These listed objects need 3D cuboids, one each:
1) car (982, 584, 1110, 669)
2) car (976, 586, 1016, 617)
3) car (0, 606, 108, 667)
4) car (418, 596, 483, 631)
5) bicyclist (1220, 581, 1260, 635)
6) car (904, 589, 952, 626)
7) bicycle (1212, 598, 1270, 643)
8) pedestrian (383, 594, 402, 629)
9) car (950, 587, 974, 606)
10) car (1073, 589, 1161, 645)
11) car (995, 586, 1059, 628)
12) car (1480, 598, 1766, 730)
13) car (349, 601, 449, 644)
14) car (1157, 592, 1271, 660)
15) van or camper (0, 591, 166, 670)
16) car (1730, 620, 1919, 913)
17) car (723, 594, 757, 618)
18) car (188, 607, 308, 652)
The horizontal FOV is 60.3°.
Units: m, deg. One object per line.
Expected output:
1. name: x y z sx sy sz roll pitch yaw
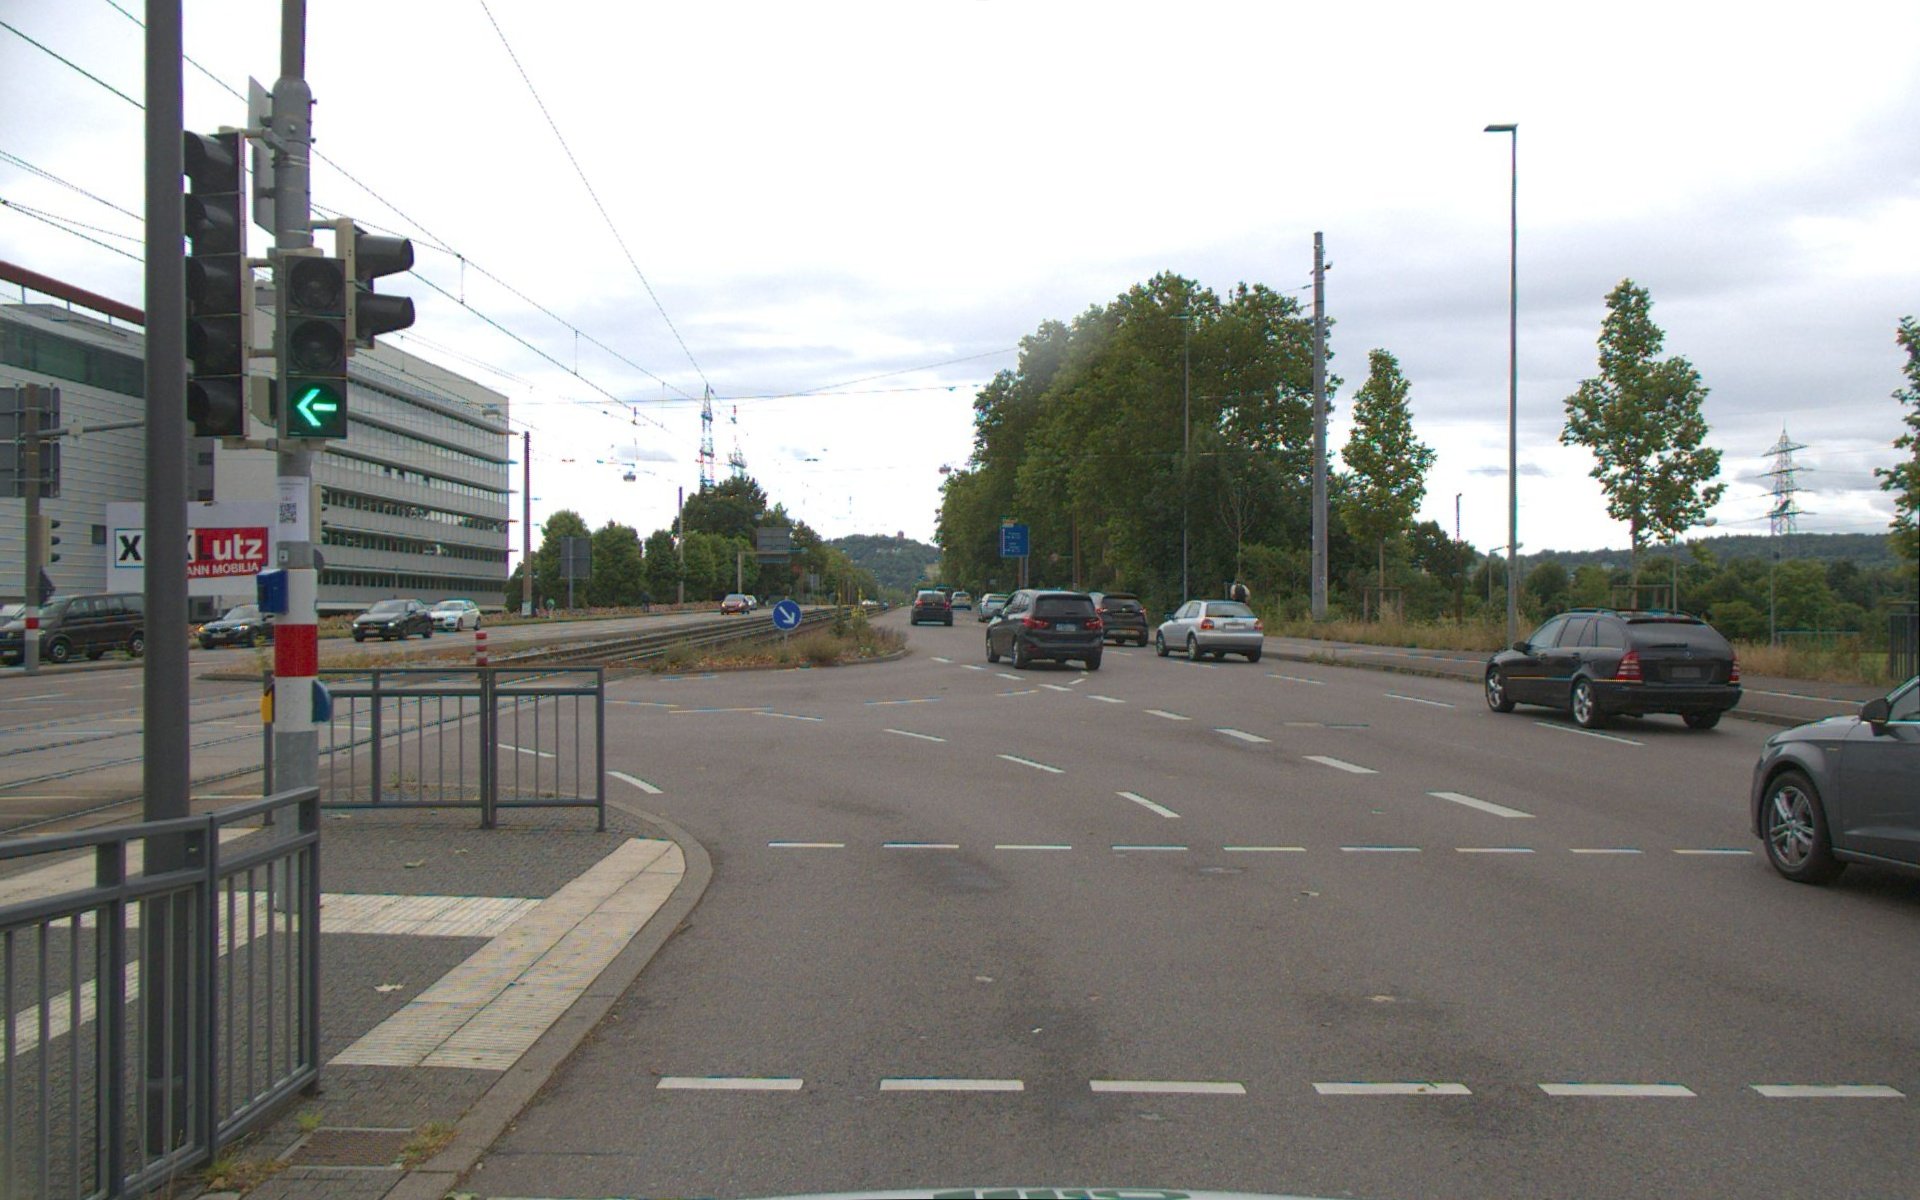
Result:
1. car: 1.729 0.525 34.705 1.798 1.665 4.307 0 0 -10
2. car: 1.808 0.080 84.574 1.779 1.506 3.669 1 -1 -3
3. car: -48.473 1.900 87.685 2.702 3.042 6.952 1 -1 2
4. car: -23.736 0.628 77.155 1.692 1.566 4.046 1 0 1
5. bicyclist: 8.094 0.215 47.847 0.802 1.504 0.997 -1 1 -11
6. car: -1.390 0.298 70.213 1.713 1.456 3.370 1 1 -7
7. bicycle: 8.126 0.577 47.912 0.802 1.205 2.516 -2 2 -11
8. pedestrian: -30.037 0.594 87.582 0.628 1.822 0.696 0 -1 30
9. car: 0.139 -0.285 138.314 1.779 1.506 3.669 1 -1 -3
10. car: 4.733 0.508 50.385 1.821 1.589 4.311 2 -1 -6
11. car: 2.674 0.278 66.843 1.822 1.589 4.309 2 -1 -8
12. car: 8.467 0.751 21.565 1.701 1.505 4.314 1 0 -5
13. car: -20.229 0.785 59.797 1.792 1.489 4.210 0 0 6
14. car: 6.097 0.603 40.134 1.696 1.535 3.625 1 0 -9
15. van or camper: -26.001 0.868 48.621 2.072 2.048 4.757 -3 1 15
16. car: 5.643 0.849 7.987 1.704 1.426 4.073 1 0 -5
17. car: -16.421 0.449 123.498 1.953 1.758 4.000 1 0 0
18. car: -24.547 0.981 57.217 1.921 1.489 4.325 0 0 6
